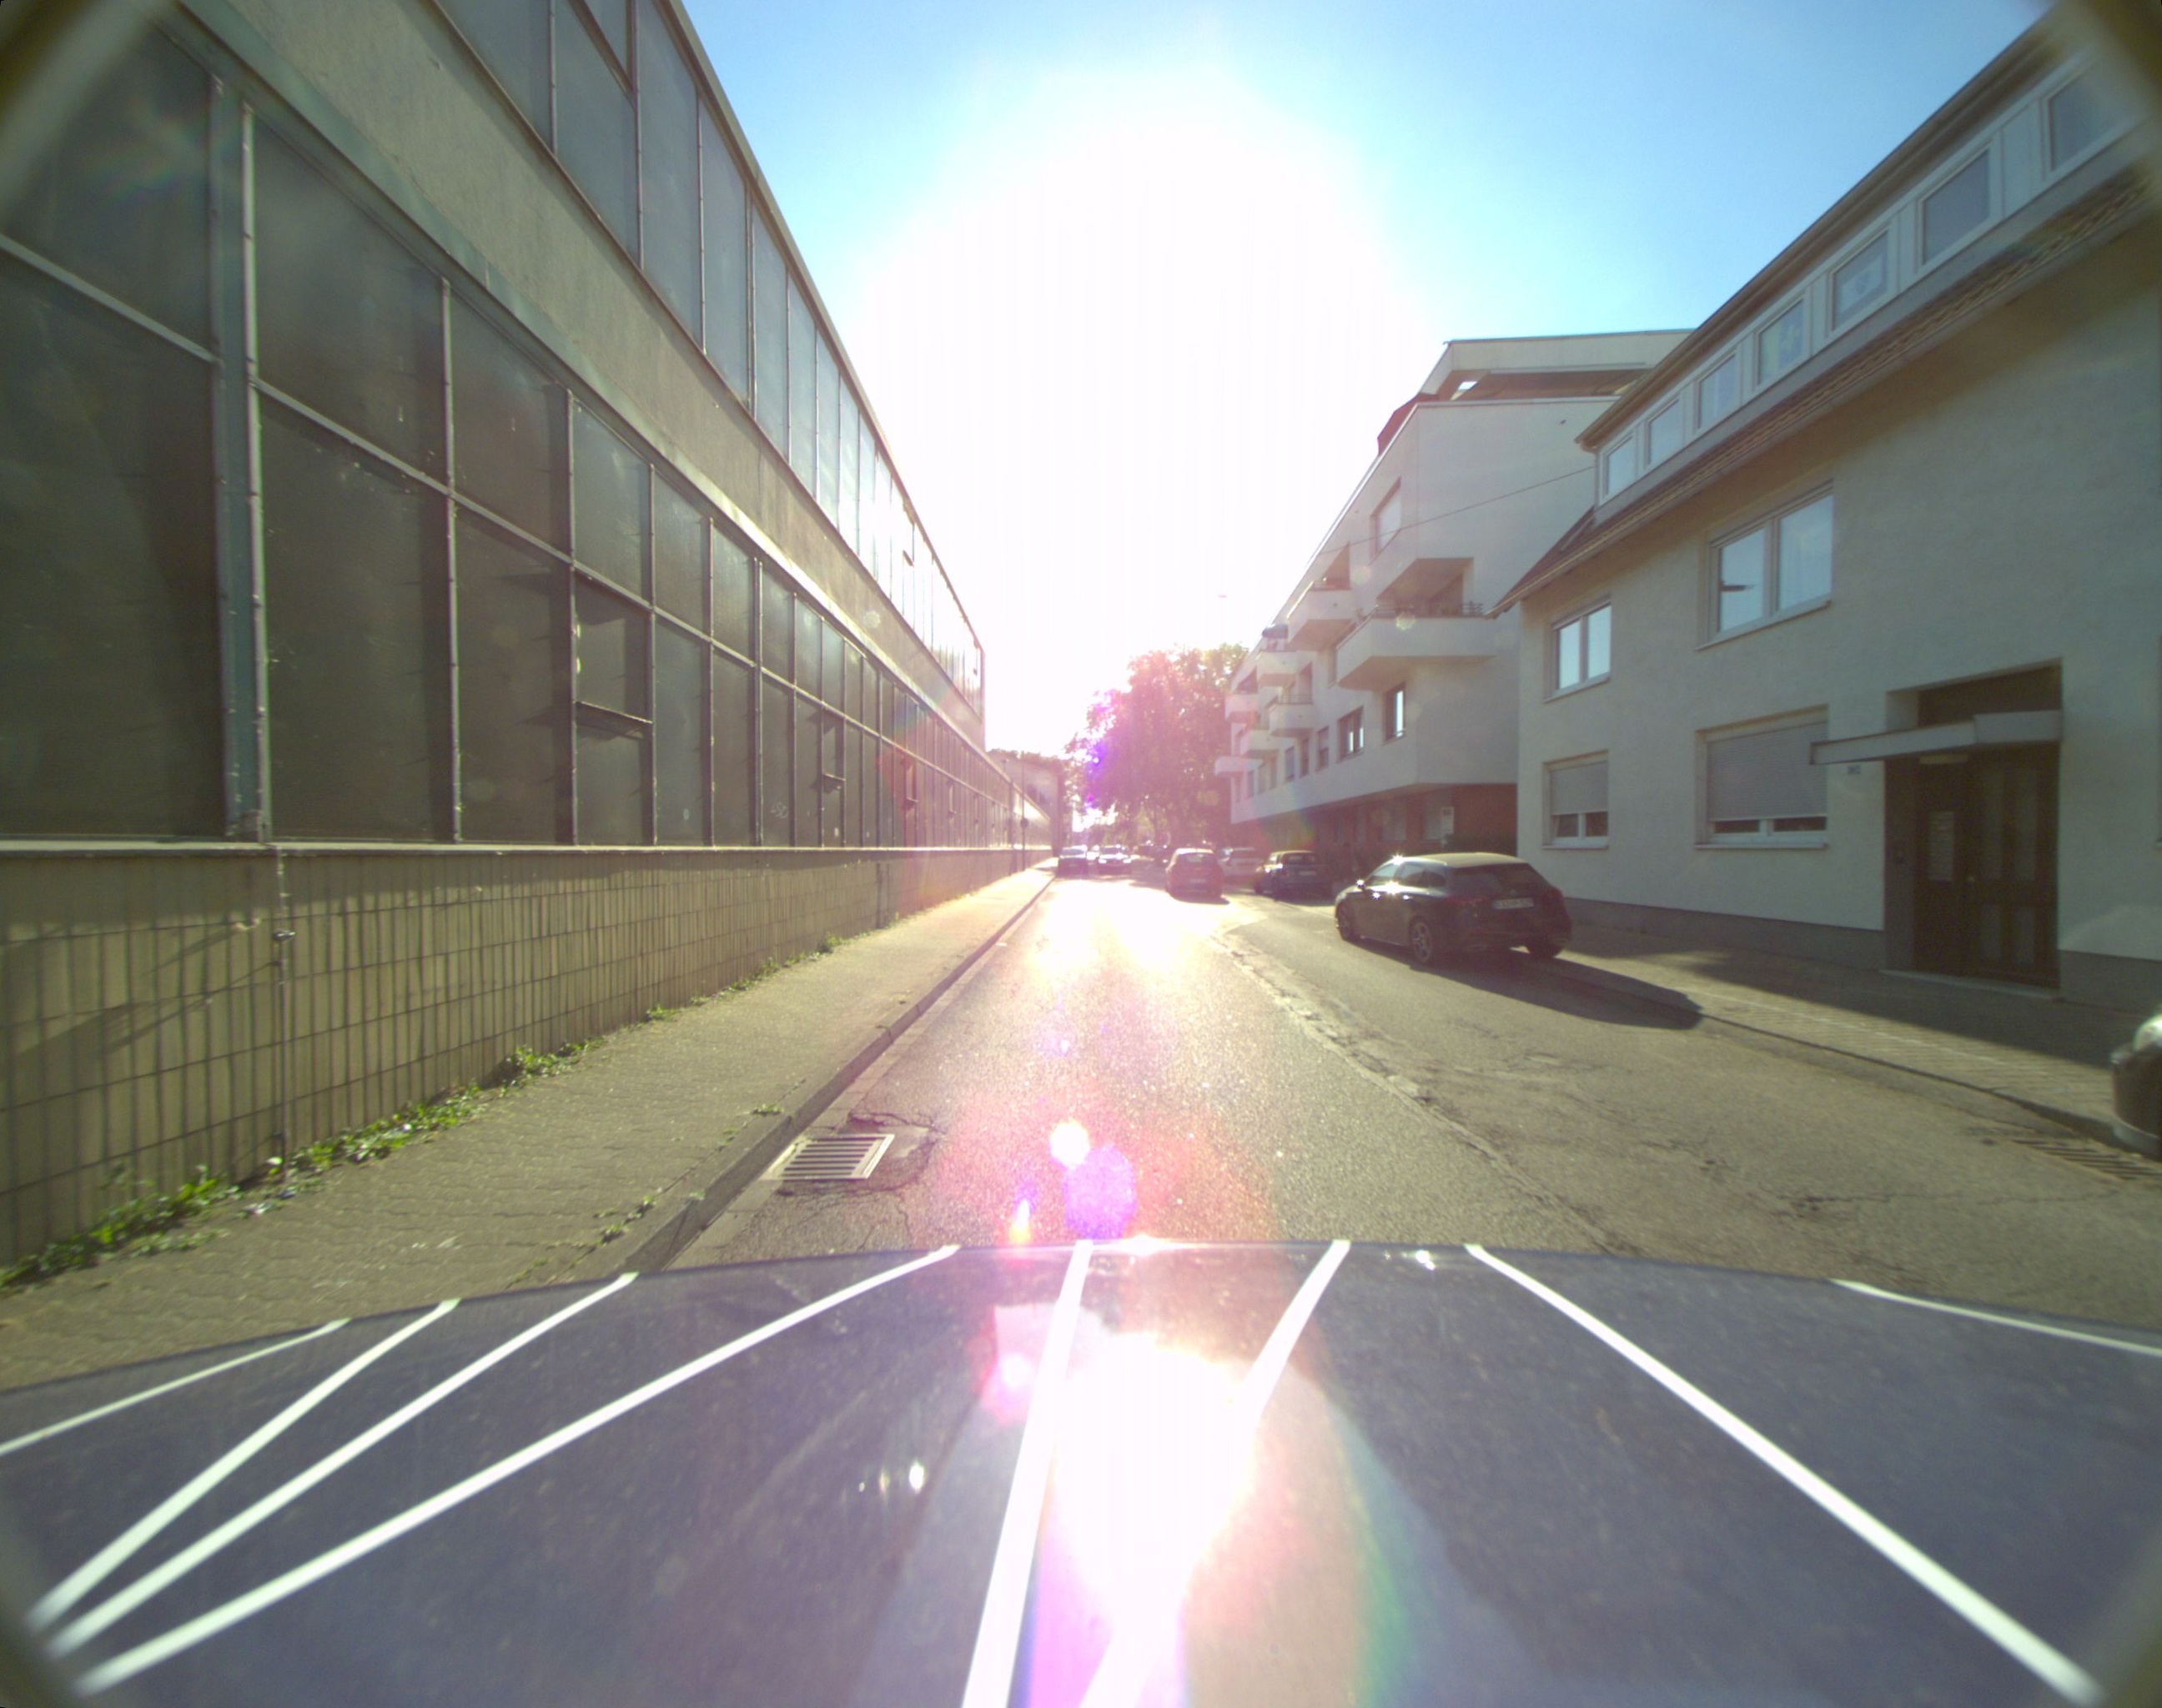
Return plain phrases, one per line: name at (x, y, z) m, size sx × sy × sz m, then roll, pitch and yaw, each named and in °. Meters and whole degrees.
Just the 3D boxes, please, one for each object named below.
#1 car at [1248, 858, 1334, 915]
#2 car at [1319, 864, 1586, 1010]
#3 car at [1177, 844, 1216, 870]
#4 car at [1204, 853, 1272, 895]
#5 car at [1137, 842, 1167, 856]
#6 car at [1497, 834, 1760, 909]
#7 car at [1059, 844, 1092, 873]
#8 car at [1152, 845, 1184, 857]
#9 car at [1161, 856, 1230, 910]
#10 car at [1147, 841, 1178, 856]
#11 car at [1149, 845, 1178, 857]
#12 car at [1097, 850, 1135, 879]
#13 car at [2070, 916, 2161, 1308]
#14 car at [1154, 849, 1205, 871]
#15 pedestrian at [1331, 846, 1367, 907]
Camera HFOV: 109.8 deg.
car at (6.631, 0.973, 24.430) m, size 1.672 × 1.527 × 3.856 m, roll -3°, pitch 1°, yaw 0°
car at (5.171, 1.030, 11.331) m, size 1.689 × 1.526 × 4.333 m, roll -3°, pitch 1°, yaw -2°
car at (6.864, 0.157, 45.547) m, size 1.679 × 1.425 × 3.769 m, roll -3°, pitch 1°, yaw 0°
car at (6.922, 0.813, 33.965) m, size 1.863 × 1.578 × 4.619 m, roll -3°, pitch 1°, yaw -2°
car at (10.323, -0.697, 109.892) m, size 4.005 × 1.876 × 1.713 m, roll -2°, pitch 2°, yaw -26°
car at (12.456, 0.376, 17.537) m, size 4.618 × 1.629 × 2.014 m, roll 0°, pitch 0°, yaw 0°
car at (-0.361, 0.254, 46.467) m, size 1.812 × 1.578 × 4.403 m, roll -3°, pitch 1°, yaw -1°
car at (11.681, -0.424, 102.153) m, size 4.002 × 1.615 × 1.795 m, roll -1°, pitch 1°, yaw -14°
car at (3.696, 0.872, 25.190) m, size 1.846 × 1.482 × 4.144 m, roll 3°, pitch 1°, yaw 3°
car at (11.488, -0.792, 107.337) m, size 4.002 × 1.871 × 1.831 m, roll -2°, pitch 2°, yaw -16°
car at (11.365, -0.399, 104.498) m, size 3.602 × 1.552 × 1.647 m, roll -2°, pitch 2°, yaw -17°
car at (2.024, 0.577, 44.558) m, size 1.854 × 1.527 × 3.855 m, roll -3°, pitch 1°, yaw -2°
car at (5.270, 1.039, 1.179) m, size 1.862 × 1.578 × 4.336 m, roll -3°, pitch 0°, yaw 2°
car at (8.376, 0.471, 64.484) m, size 3.965 × 1.653 × 1.696 m, roll -2°, pitch 2°, yaw -27°
pedestrian at (8.506, 0.697, 24.100) m, size 0.862 × 1.808 × 1.133 m, roll -4°, pitch 1°, yaw 25°
